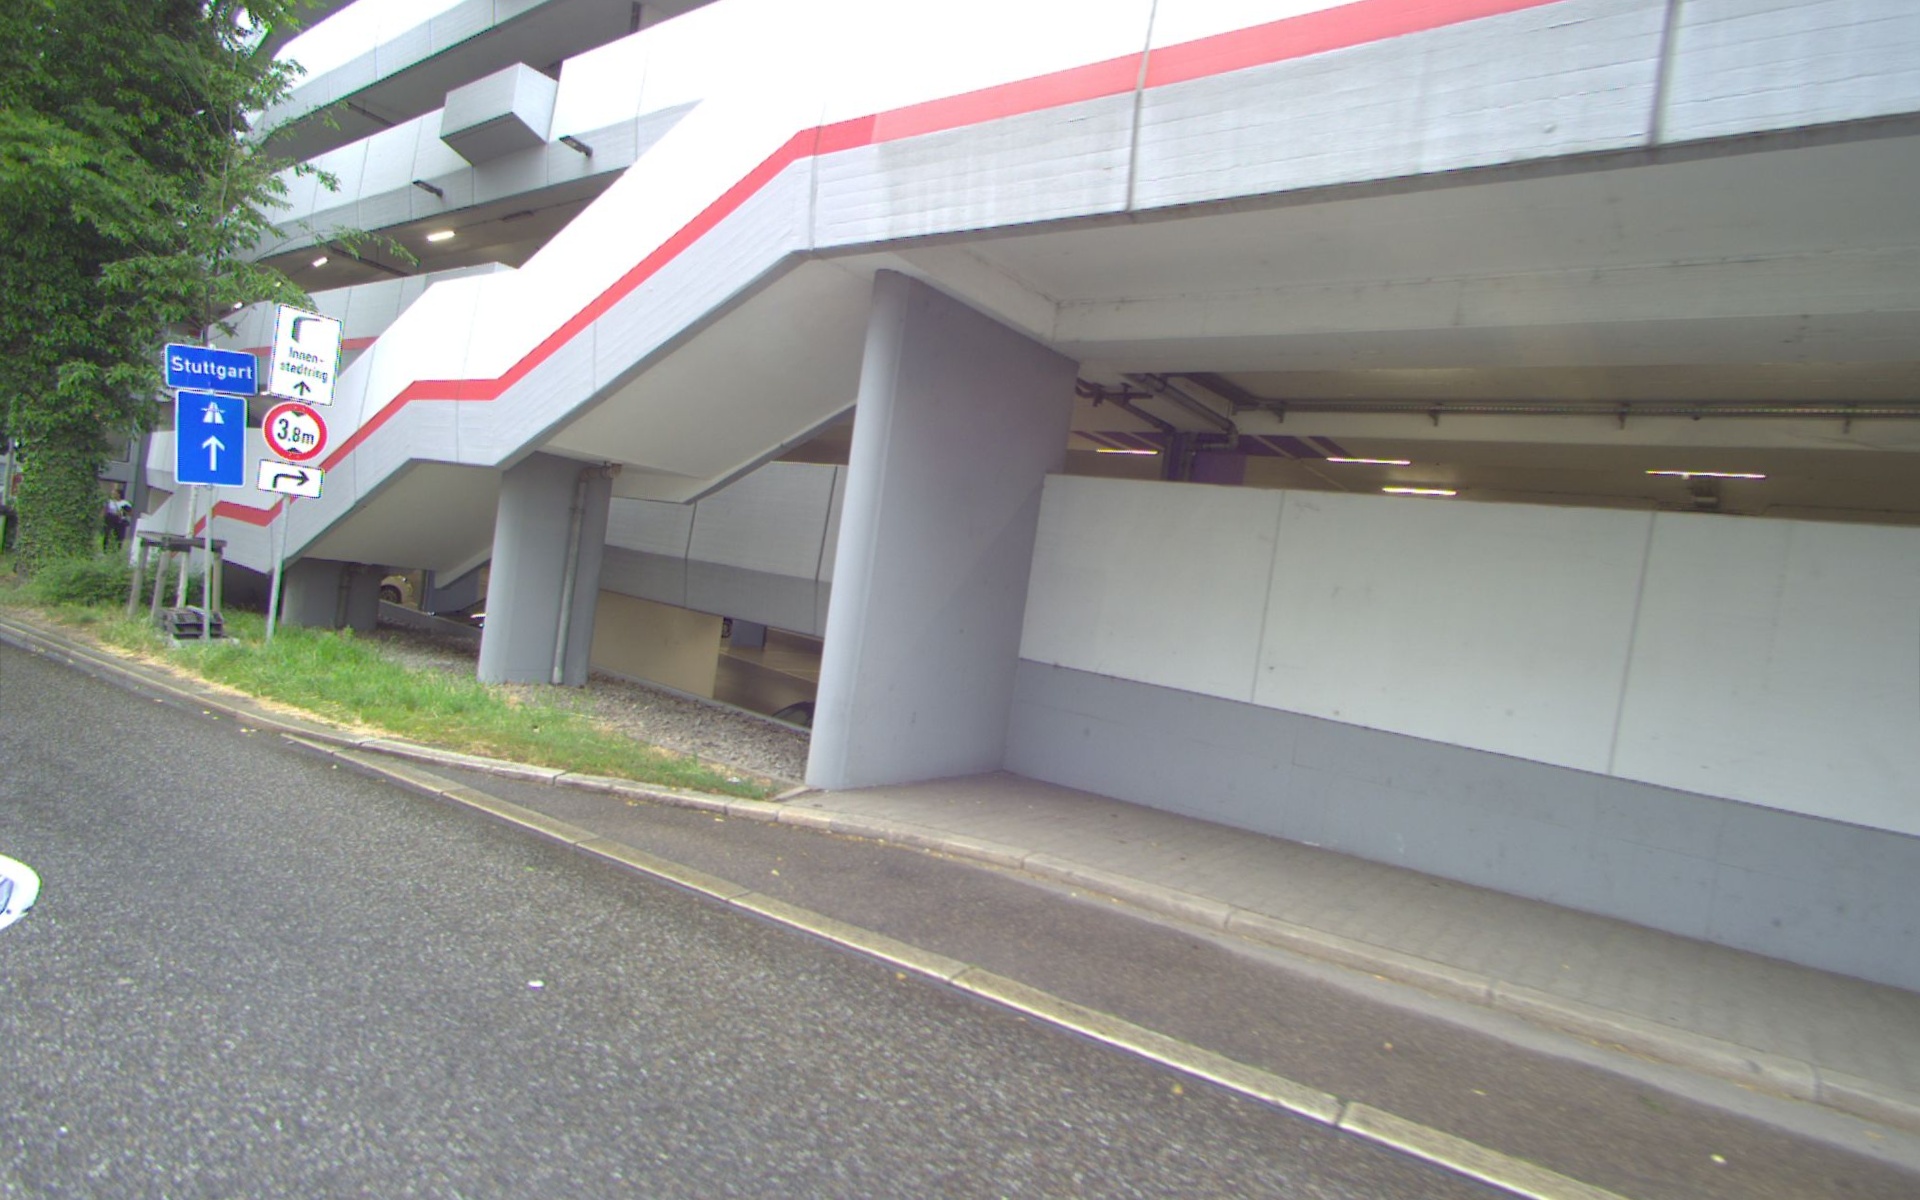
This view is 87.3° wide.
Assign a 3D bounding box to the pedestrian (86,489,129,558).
[{"bbox_3d":[-20.342,-1.835,24.006,0.481,1.550,0.551,6,-1,38],"label":"pedestrian"}]

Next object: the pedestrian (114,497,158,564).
[{"bbox_3d":[-20.068,-1.686,24.511,0.496,1.519,0.582,6,-1,36],"label":"pedestrian"}]
